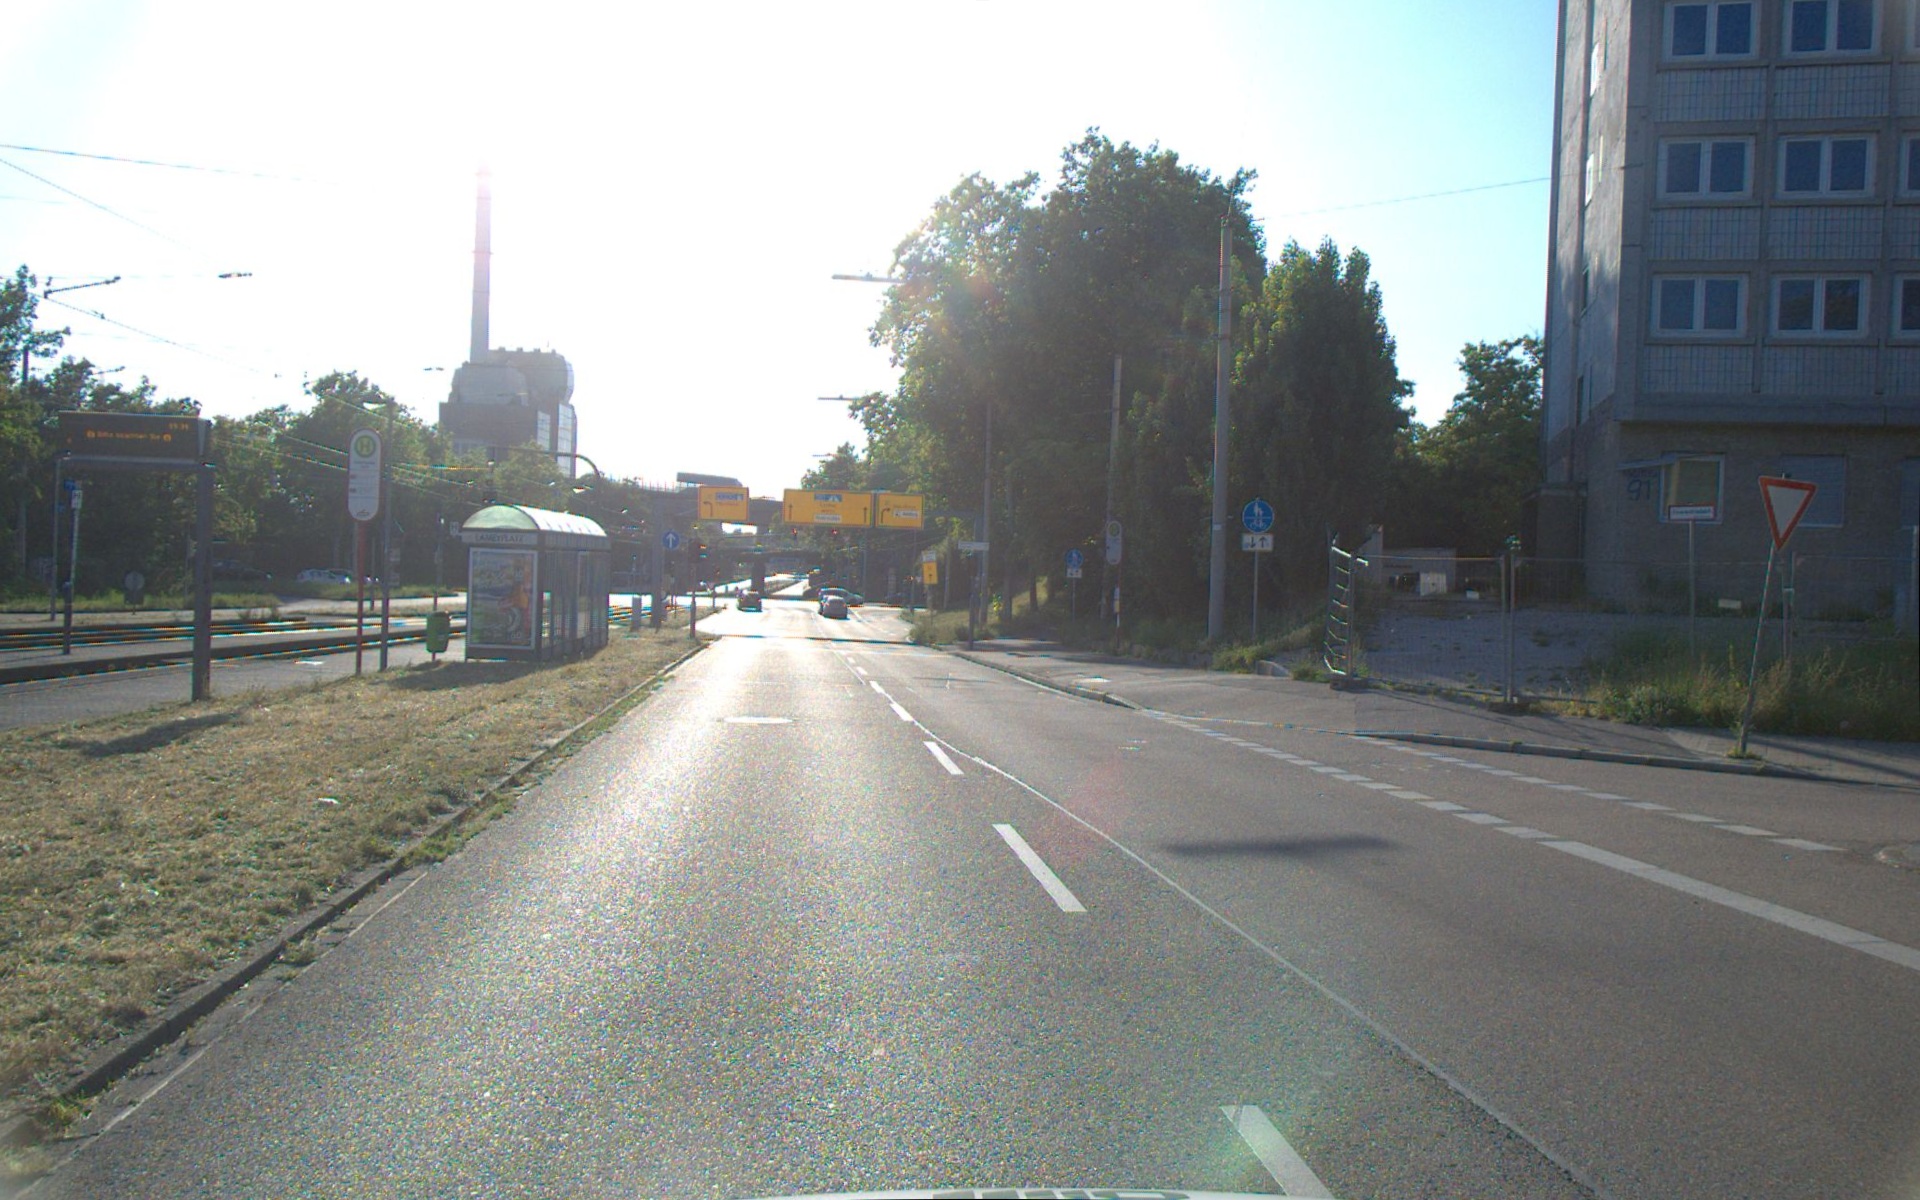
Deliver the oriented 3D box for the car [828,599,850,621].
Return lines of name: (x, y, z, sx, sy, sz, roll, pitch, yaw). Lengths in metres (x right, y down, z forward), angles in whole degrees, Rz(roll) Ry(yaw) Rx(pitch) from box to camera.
car: (-8.721, 0.742, 119.515, 1.485, 1.411, 3.362, 2, 1, -3)

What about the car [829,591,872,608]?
car: (-10.303, -0.068, 155.546, 3.910, 1.471, 1.772, 1, 0, -6)

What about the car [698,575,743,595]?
car: (-27.580, -1.766, 190.671, 4.684, 2.048, 2.001, 3, 1, 16)

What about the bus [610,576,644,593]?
bus: (-44.322, -2.071, 220.518, 2.532, 2.049, 12.289, 1, 0, -3)

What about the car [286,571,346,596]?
car: (-49.208, -1.270, 126.377, 3.945, 1.780, 1.980, 1, 0, -31)

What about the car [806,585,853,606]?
car: (-14.296, -0.508, 181.284, 4.744, 2.048, 2.002, 3, 1, 14)

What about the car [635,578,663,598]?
car: (-33.474, -1.324, 178.305, 1.952, 2.049, 4.864, 1, 0, 2)

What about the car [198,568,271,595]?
car: (-53.298, -1.388, 121.561, 4.725, 1.876, 1.980, 1, 0, -31)

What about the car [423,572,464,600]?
car: (-39.114, -1.051, 125.412, 1.954, 2.049, 3.998, 1, 0, -3)

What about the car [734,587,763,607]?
car: (-16.367, -0.220, 128.085, 1.997, 1.471, 3.997, 1, 0, -4)

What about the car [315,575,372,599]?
car: (-48.613, -1.046, 130.480, 3.945, 1.780, 1.980, 1, 0, -31)
